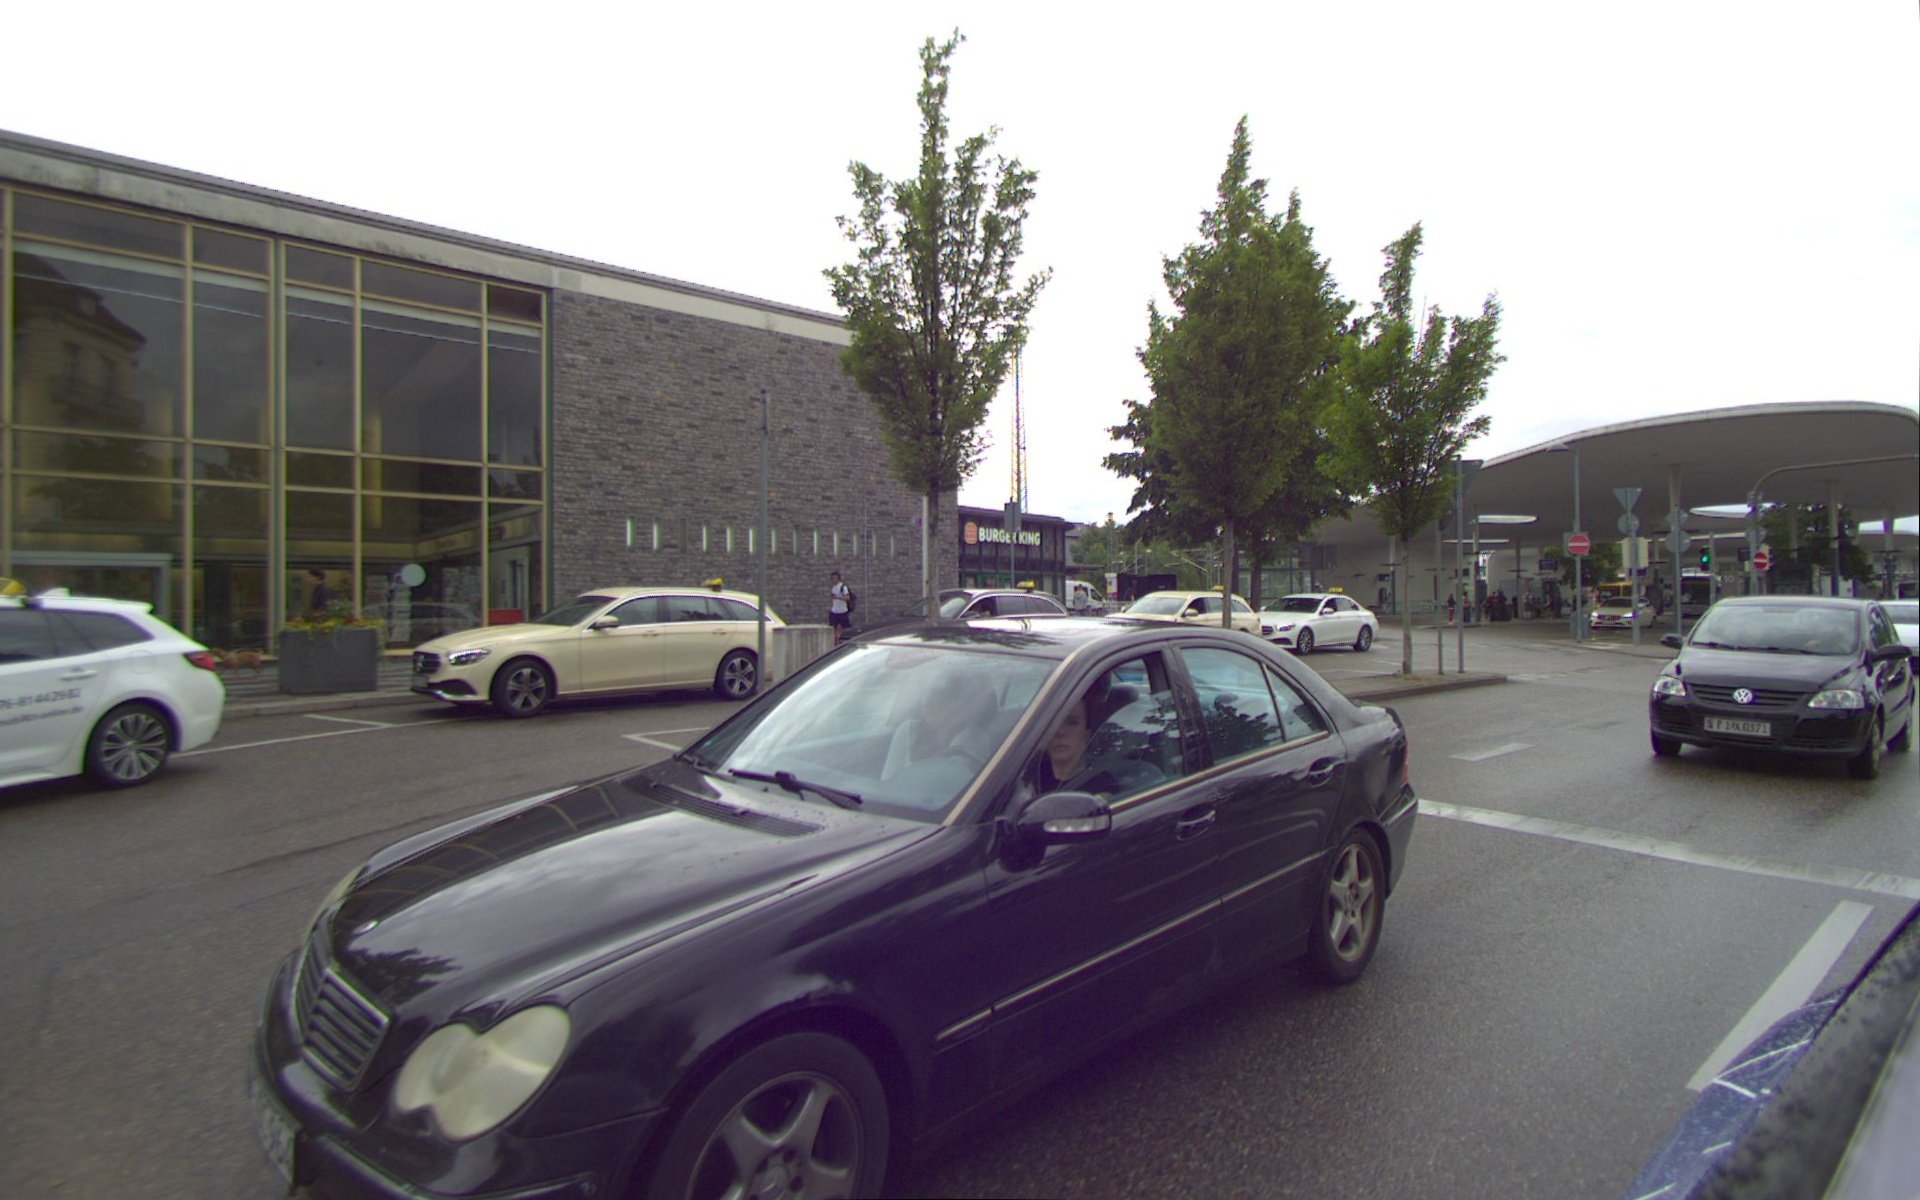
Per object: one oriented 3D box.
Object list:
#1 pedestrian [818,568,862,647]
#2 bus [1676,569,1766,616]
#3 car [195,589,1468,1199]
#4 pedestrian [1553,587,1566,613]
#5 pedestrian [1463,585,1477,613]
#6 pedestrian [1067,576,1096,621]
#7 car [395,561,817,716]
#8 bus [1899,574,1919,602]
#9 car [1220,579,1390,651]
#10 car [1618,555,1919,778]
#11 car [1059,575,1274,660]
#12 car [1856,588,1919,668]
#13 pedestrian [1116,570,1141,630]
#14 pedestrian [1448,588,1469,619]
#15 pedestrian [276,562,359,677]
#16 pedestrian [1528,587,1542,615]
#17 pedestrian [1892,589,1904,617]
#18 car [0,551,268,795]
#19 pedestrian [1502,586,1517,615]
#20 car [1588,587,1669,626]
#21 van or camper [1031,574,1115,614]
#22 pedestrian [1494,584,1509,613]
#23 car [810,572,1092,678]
[{"bbox_3d":[-2.653,0.154,22.406,0.640,1.688,0.770,1,1,28],"label":"pedestrian"},{"bbox_3d":[57.151,-0.508,75.834,11.711,3.121,2.875,1,1,-41],"label":"bus"},{"bbox_3d":[0.123,0.737,3.600,4.380,1.483,1.696,-1,2,-45],"label":"car"},{"bbox_3d":[35.117,0.013,59.299,0.525,1.533,0.479,0,1,-37],"label":"pedestrian"},{"bbox_3d":[28.142,-0.048,55.841,0.469,1.533,0.536,1,0,-6],"label":"pedestrian"},{"bbox_3d":[4.434,-0.070,36.931,0.699,1.599,0.769,0,2,-43],"label":"pedestrian"},{"bbox_3d":[-4.398,0.371,13.261,1.992,1.619,4.884,3,2,41],"label":"car"},{"bbox_3d":[112.808,-1.395,118.534,3.569,3.137,10.597,1,1,40],"label":"bus"},{"bbox_3d":[8.821,0.308,25.684,4.816,1.619,1.884,-1,2,-40],"label":"car"},{"bbox_3d":[8.228,0.464,9.925,4.084,1.723,1.875,-1,3,-41],"label":"car"},{"bbox_3d":[4.584,0.327,22.012,4.870,1.619,1.998,0,2,-40],"label":"car"},{"bbox_3d":[20.839,0.557,21.837,3.980,1.578,1.809,-1,2,-42],"label":"car"},{"bbox_3d":[6.239,-0.009,37.518,0.787,2.191,0.718,1,1,19],"label":"pedestrian"},{"bbox_3d":[26.648,0.190,54.107,0.725,1.615,0.643,0,2,-26],"label":"pedestrian"},{"bbox_3d":[-9.550,0.271,15.059,0.710,1.646,0.796,1,1,6],"label":"pedestrian"},{"bbox_3d":[32.220,0.051,56.724,0.525,1.533,0.479,0,1,-37],"label":"pedestrian"},{"bbox_3d":[60.073,0.176,64.803,0.442,1.786,0.532,1,0,28],"label":"pedestrian"},{"bbox_3d":[-7.079,0.471,6.323,1.735,1.565,4.764,0,1,10],"label":"car"},{"bbox_3d":[28.802,0.014,53.014,0.470,1.533,0.535,0,1,-36],"label":"pedestrian"},{"bbox_3d":[31.432,0.277,47.525,4.462,1.702,1.998,-1,2,-41],"label":"car"},{"bbox_3d":[7.372,-0.398,65.650,5.761,2.463,1.998,-1,2,-41],"label":"van or camper"},{"bbox_3d":[28.907,-0.069,53.999,0.470,1.533,0.535,0,1,-36],"label":"pedestrian"},{"bbox_3d":[-0.033,0.367,17.785,4.873,1.619,1.996,0,0,-42],"label":"car"}]
